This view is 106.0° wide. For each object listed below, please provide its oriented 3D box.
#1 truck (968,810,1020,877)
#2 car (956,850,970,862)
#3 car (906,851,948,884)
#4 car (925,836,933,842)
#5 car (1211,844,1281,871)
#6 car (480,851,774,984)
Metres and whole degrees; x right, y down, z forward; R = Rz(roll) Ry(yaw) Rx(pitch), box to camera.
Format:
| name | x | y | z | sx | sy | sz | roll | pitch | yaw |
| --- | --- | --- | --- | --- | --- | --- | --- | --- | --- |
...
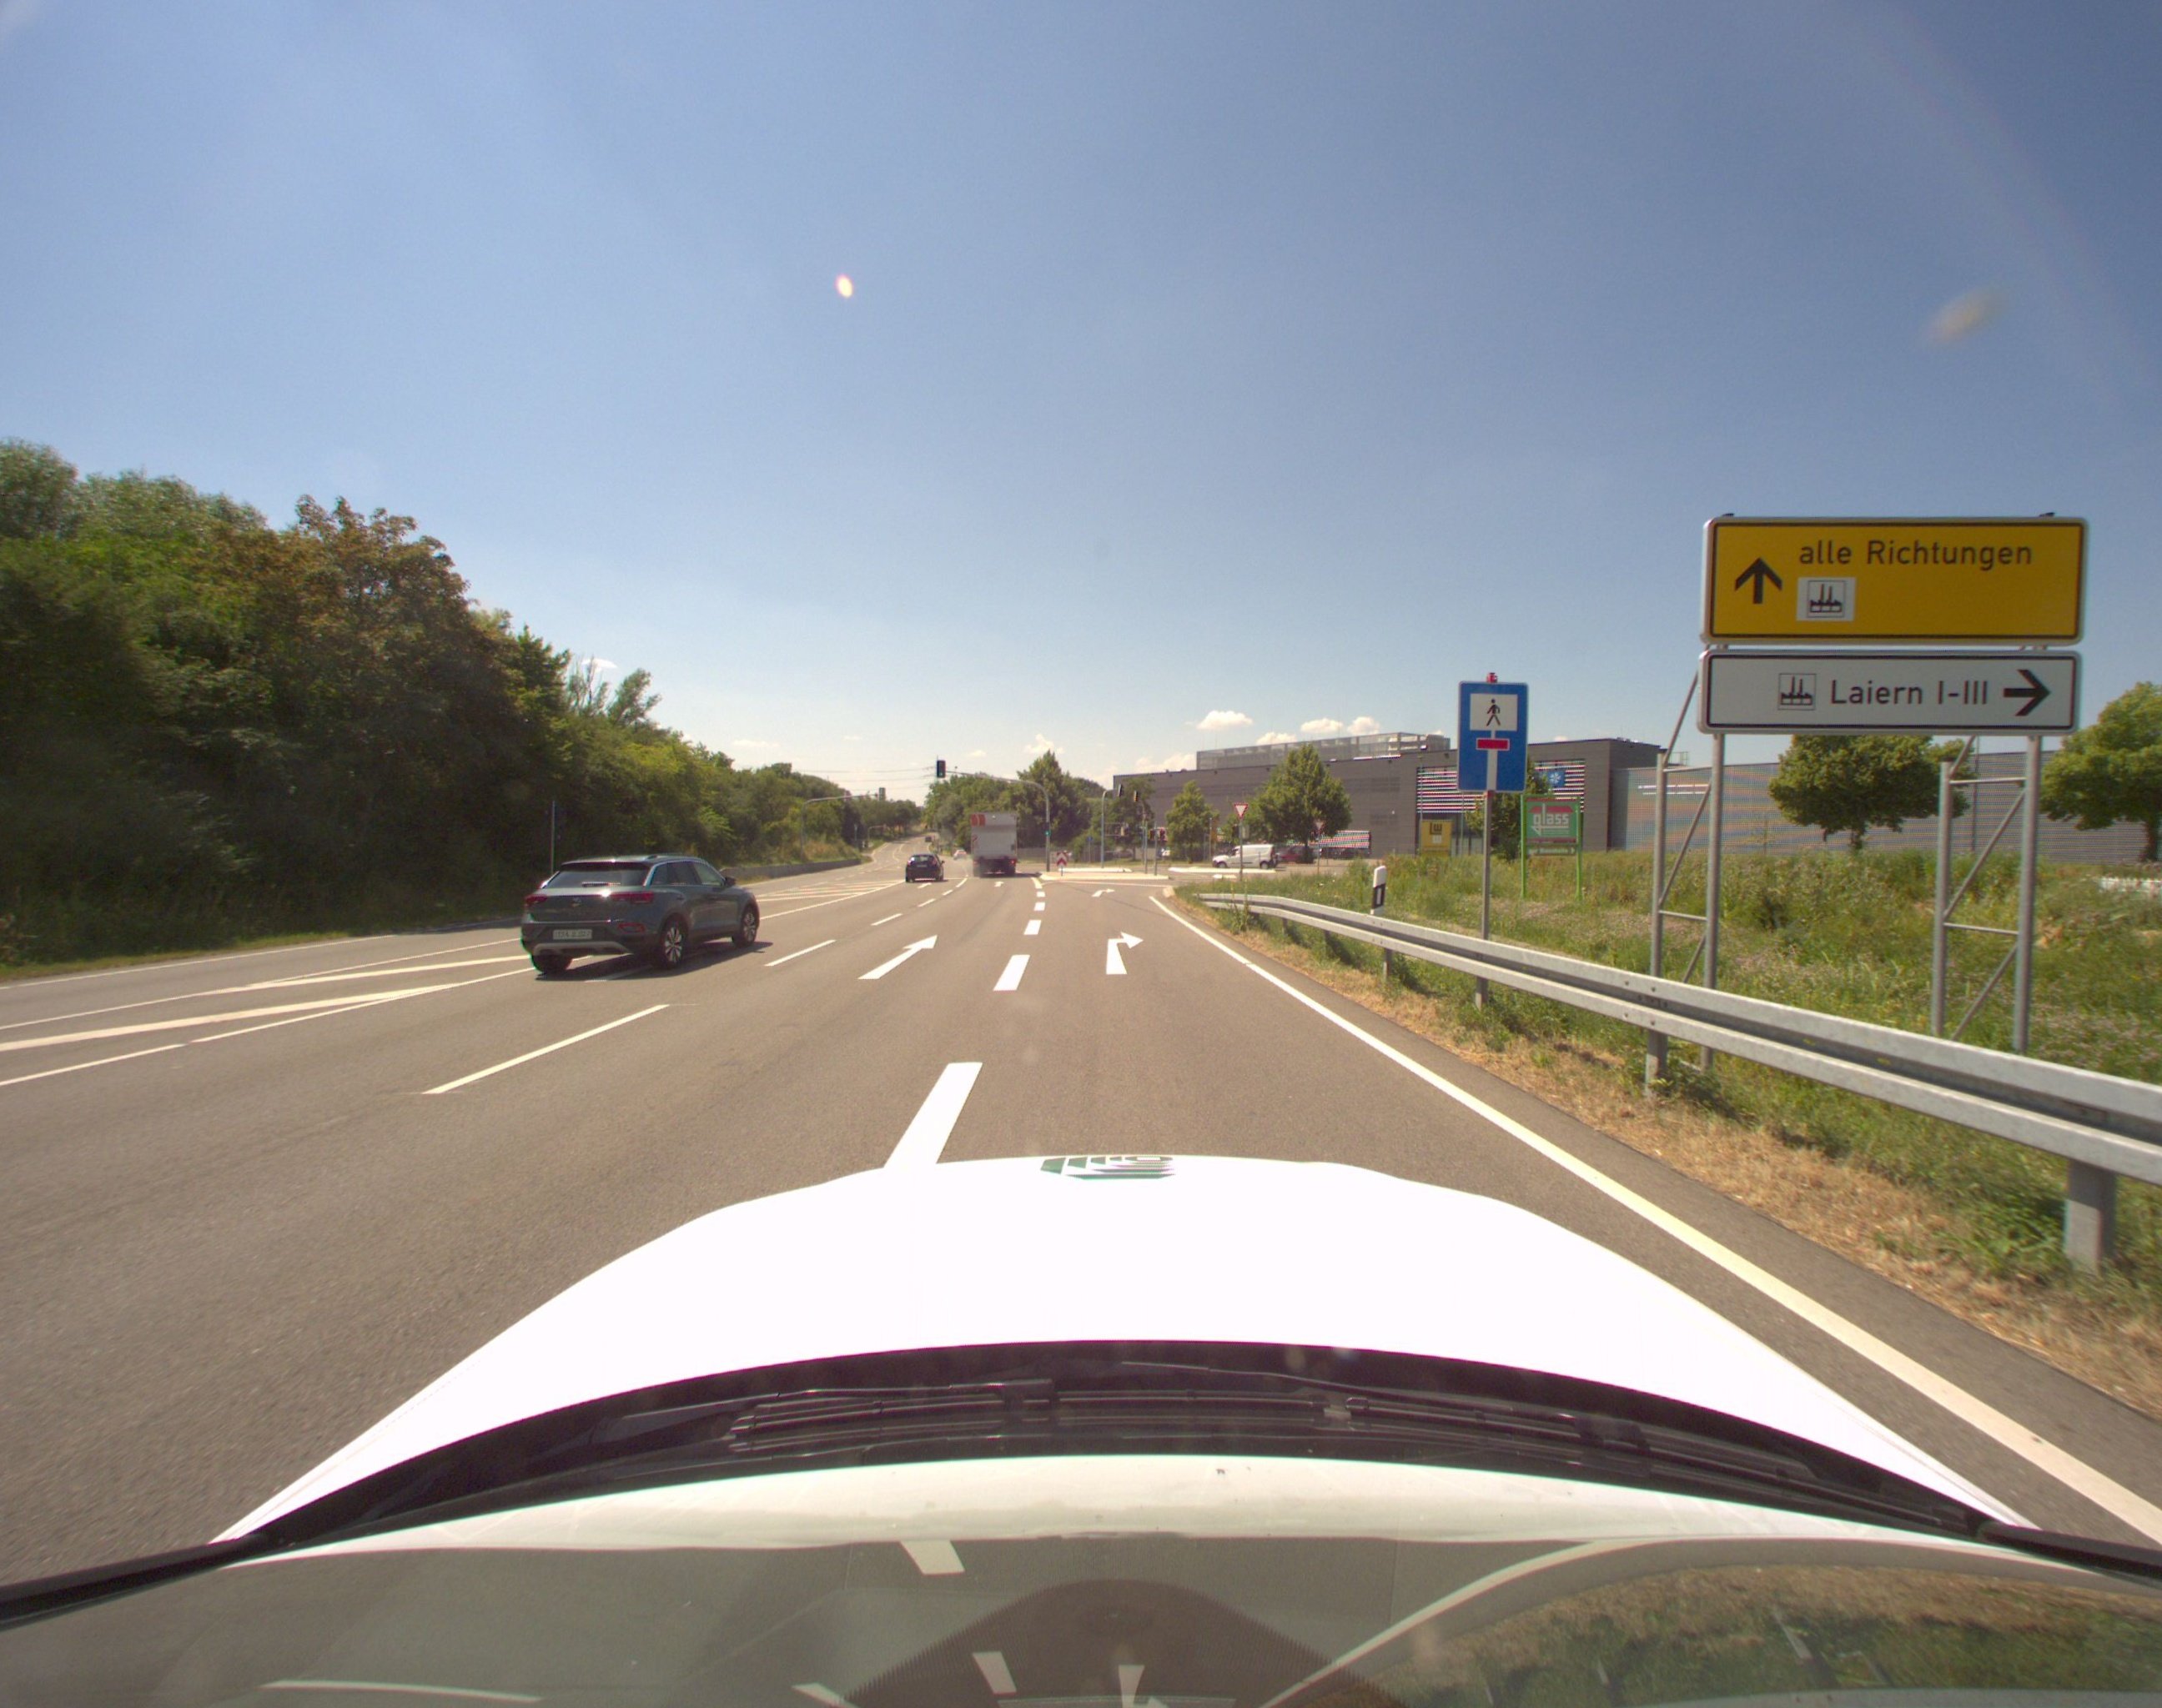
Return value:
| name | x | y | z | sx | sy | sz | roll | pitch | yaw |
| --- | --- | --- | --- | --- | --- | --- | --- | --- | --- |
| truck | -5.225 | -0.658 | 49.295 | 2.800 | 3.710 | 9.090 | 0 | 1 | -6 |
| car | -17.941 | 0.329 | 123.487 | 1.944 | 1.664 | 3.985 | 2 | 1 | -11 |
| car | -7.891 | 0.644 | 41.933 | 1.650 | 1.493 | 4.202 | 0 | 2 | -4 |
| car | -46.372 | -4.468 | 249.021 | 1.991 | 1.684 | 3.991 | -1 | 0 | -6 |
| car | 12.138 | 0.256 | 59.871 | 4.704 | 1.932 | 2.165 | 0 | 0 | 22 |
| car | -6.338 | 0.761 | 12.087 | 1.828 | 1.586 | 4.391 | -1 | 0 | 0 |
